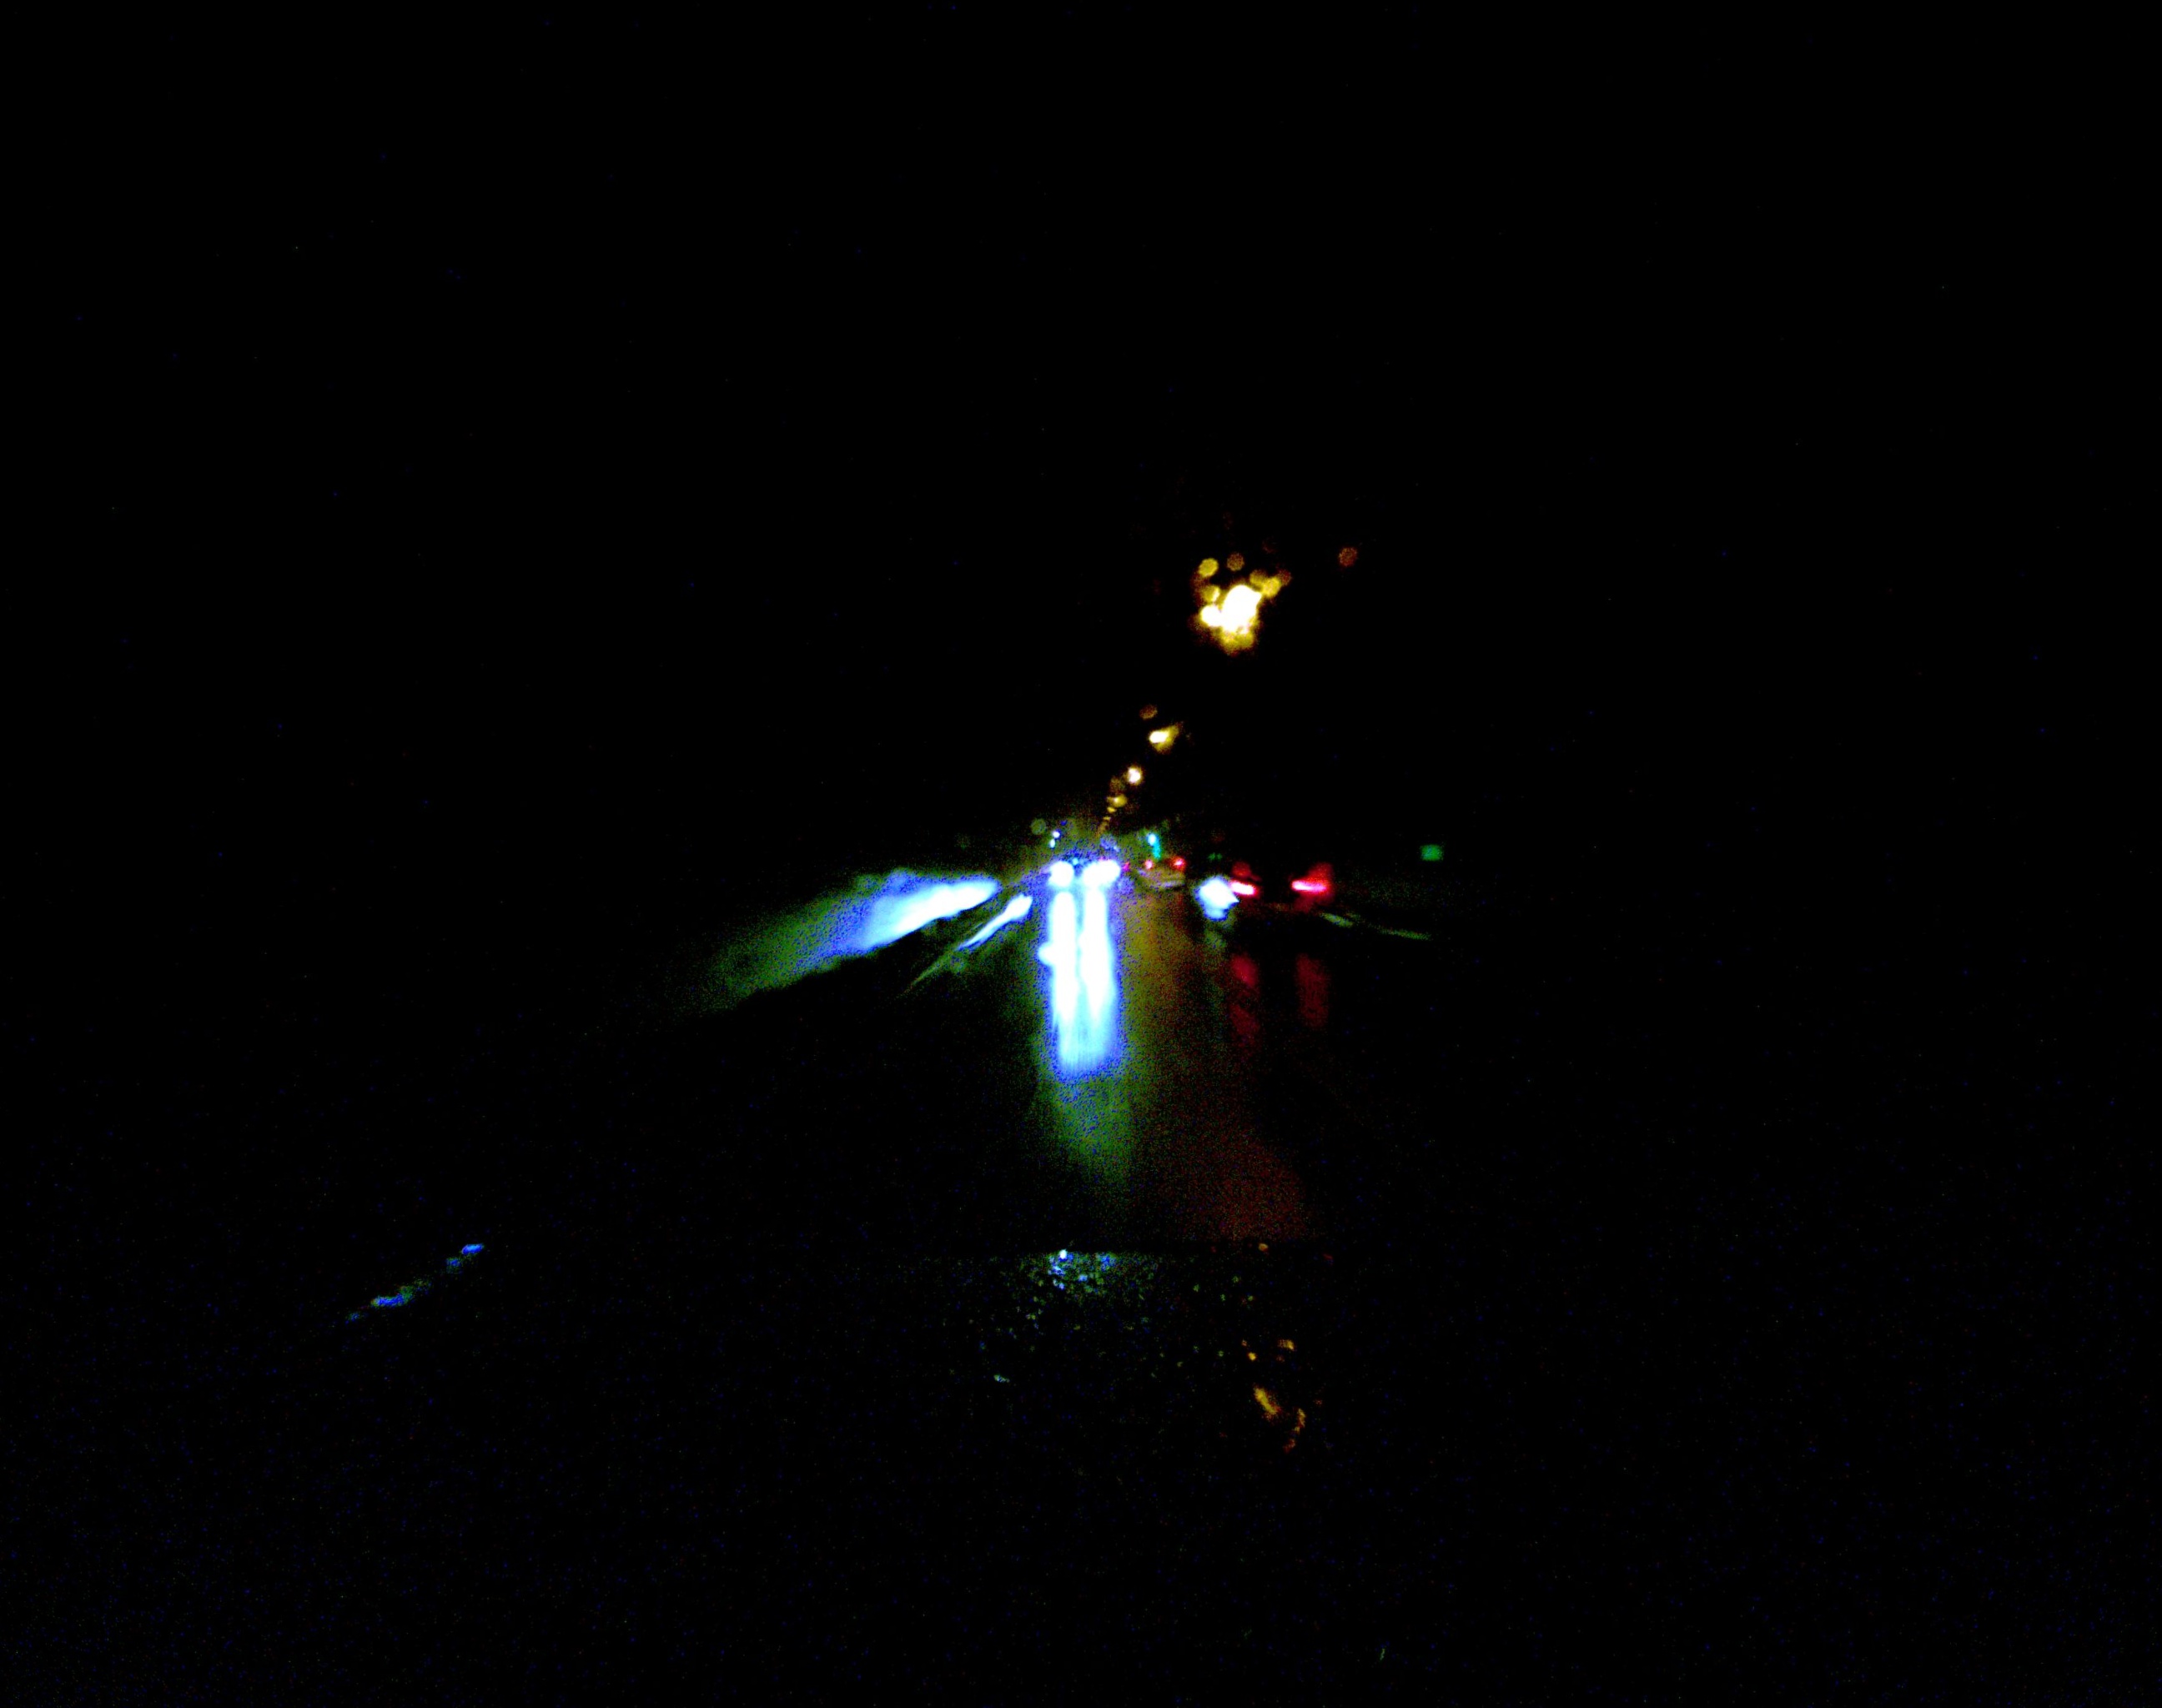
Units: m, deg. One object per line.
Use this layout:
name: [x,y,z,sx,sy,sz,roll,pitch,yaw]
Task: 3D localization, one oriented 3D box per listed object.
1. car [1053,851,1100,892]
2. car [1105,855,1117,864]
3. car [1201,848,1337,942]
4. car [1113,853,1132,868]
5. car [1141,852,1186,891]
car: [-0.213,0.754,35.868,1.999,1.547,3.998,-5,2,0]
car: [4.776,0.864,122.400,1.695,1.496,3.744,-2,0,0]
car: [3.489,0.692,14.802,1.705,1.546,3.872,-2,0,1]
car: [4.155,0.652,75.961,1.715,1.454,3.575,-1,0,1]
car: [3.711,0.773,34.754,1.673,1.637,3.907,1,-1,1]
